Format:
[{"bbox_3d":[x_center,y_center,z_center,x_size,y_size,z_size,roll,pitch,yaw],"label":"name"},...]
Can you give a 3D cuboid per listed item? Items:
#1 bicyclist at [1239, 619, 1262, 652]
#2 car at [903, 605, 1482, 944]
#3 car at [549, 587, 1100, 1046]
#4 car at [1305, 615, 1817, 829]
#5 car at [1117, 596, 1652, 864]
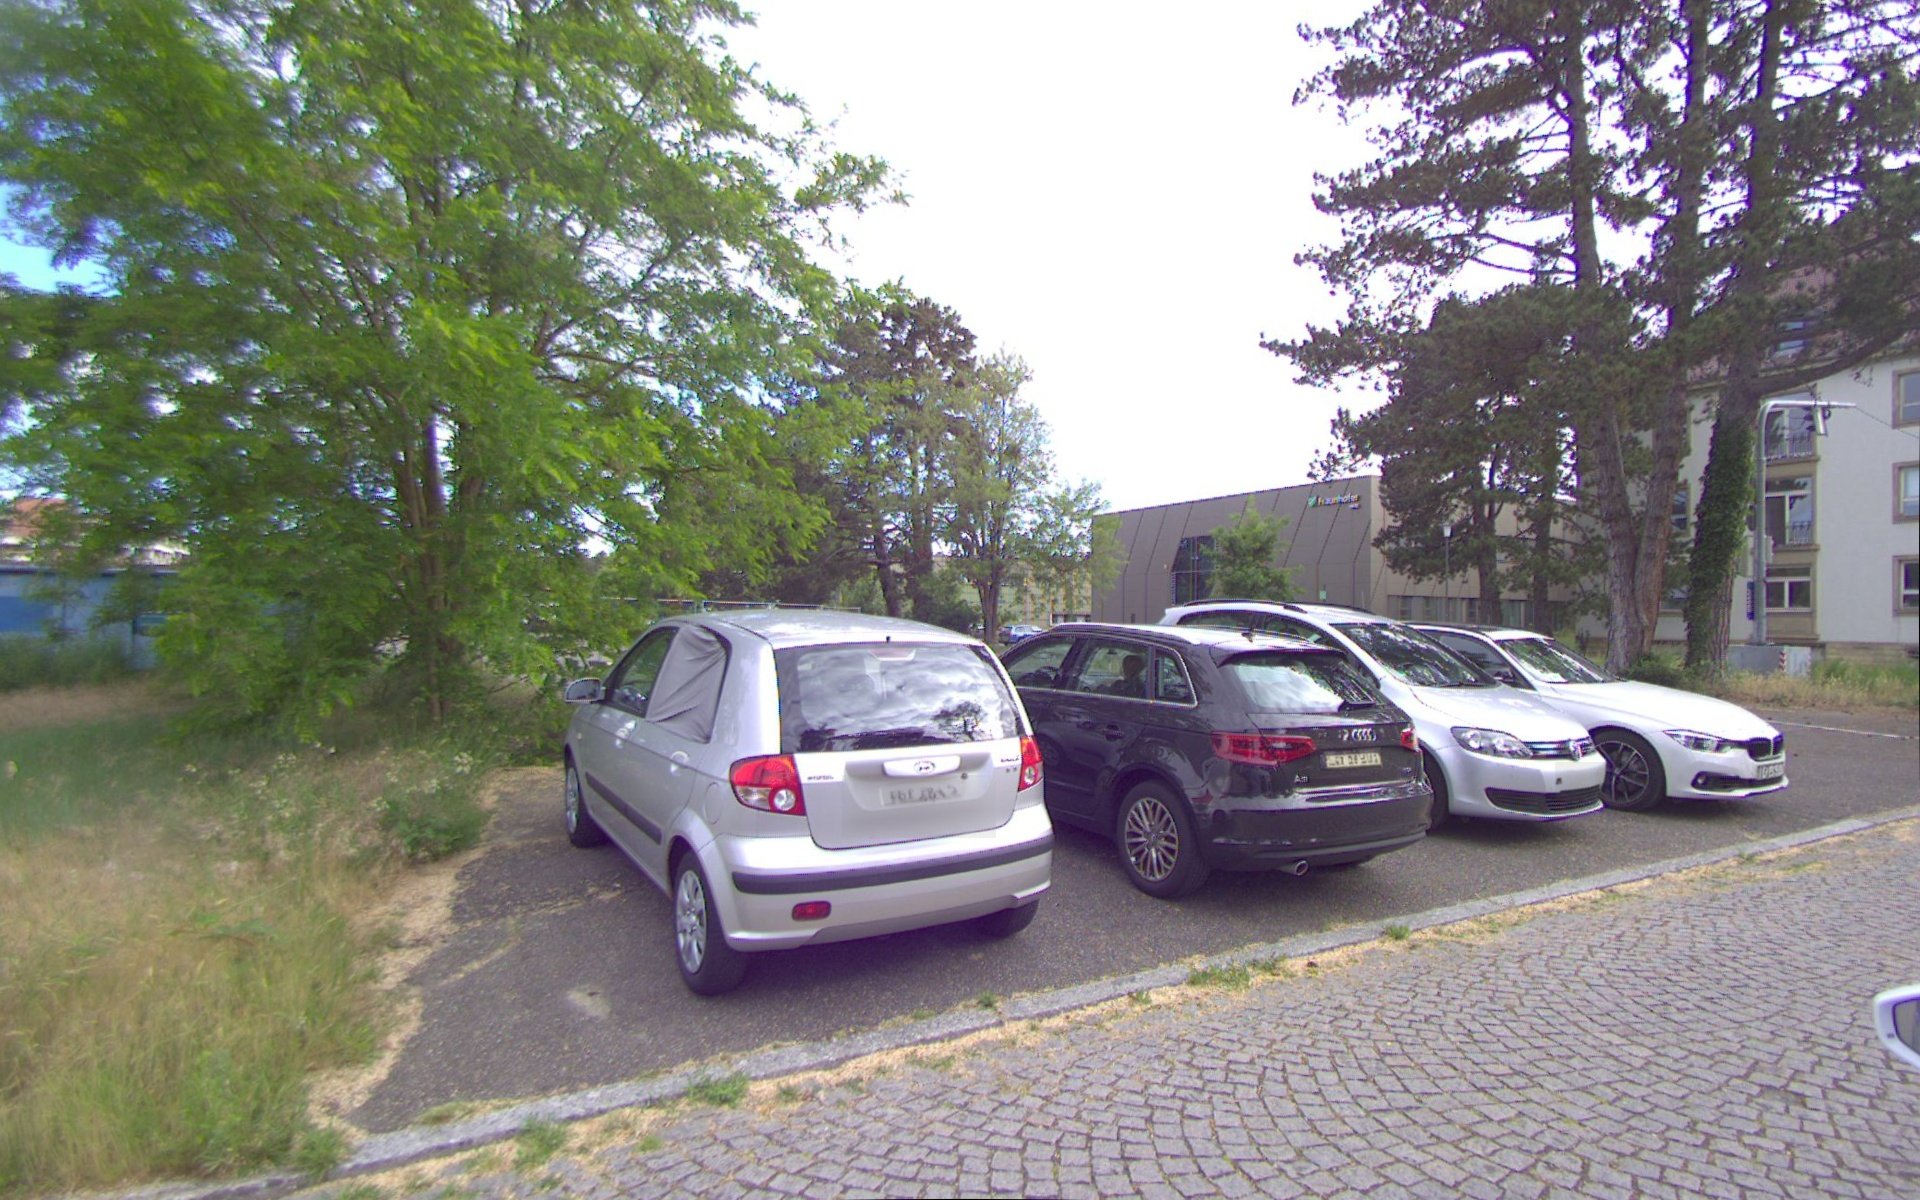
[{"bbox_3d":[12.677,1.540,43.825,0.598,1.429,0.746,1,-1,-30],"label":"bicyclist"},{"bbox_3d":[1.215,0.842,6.705,1.565,1.448,3.725,1,1,-32],"label":"car"},{"bbox_3d":[-1.053,0.747,5.449,1.565,1.499,3.682,1,1,-32],"label":"car"},{"bbox_3d":[5.473,0.964,9.707,1.631,1.440,3.928,1,1,-30],"label":"car"},{"bbox_3d":[3.270,0.841,8.517,1.632,1.584,3.925,1,1,-32],"label":"car"}]
